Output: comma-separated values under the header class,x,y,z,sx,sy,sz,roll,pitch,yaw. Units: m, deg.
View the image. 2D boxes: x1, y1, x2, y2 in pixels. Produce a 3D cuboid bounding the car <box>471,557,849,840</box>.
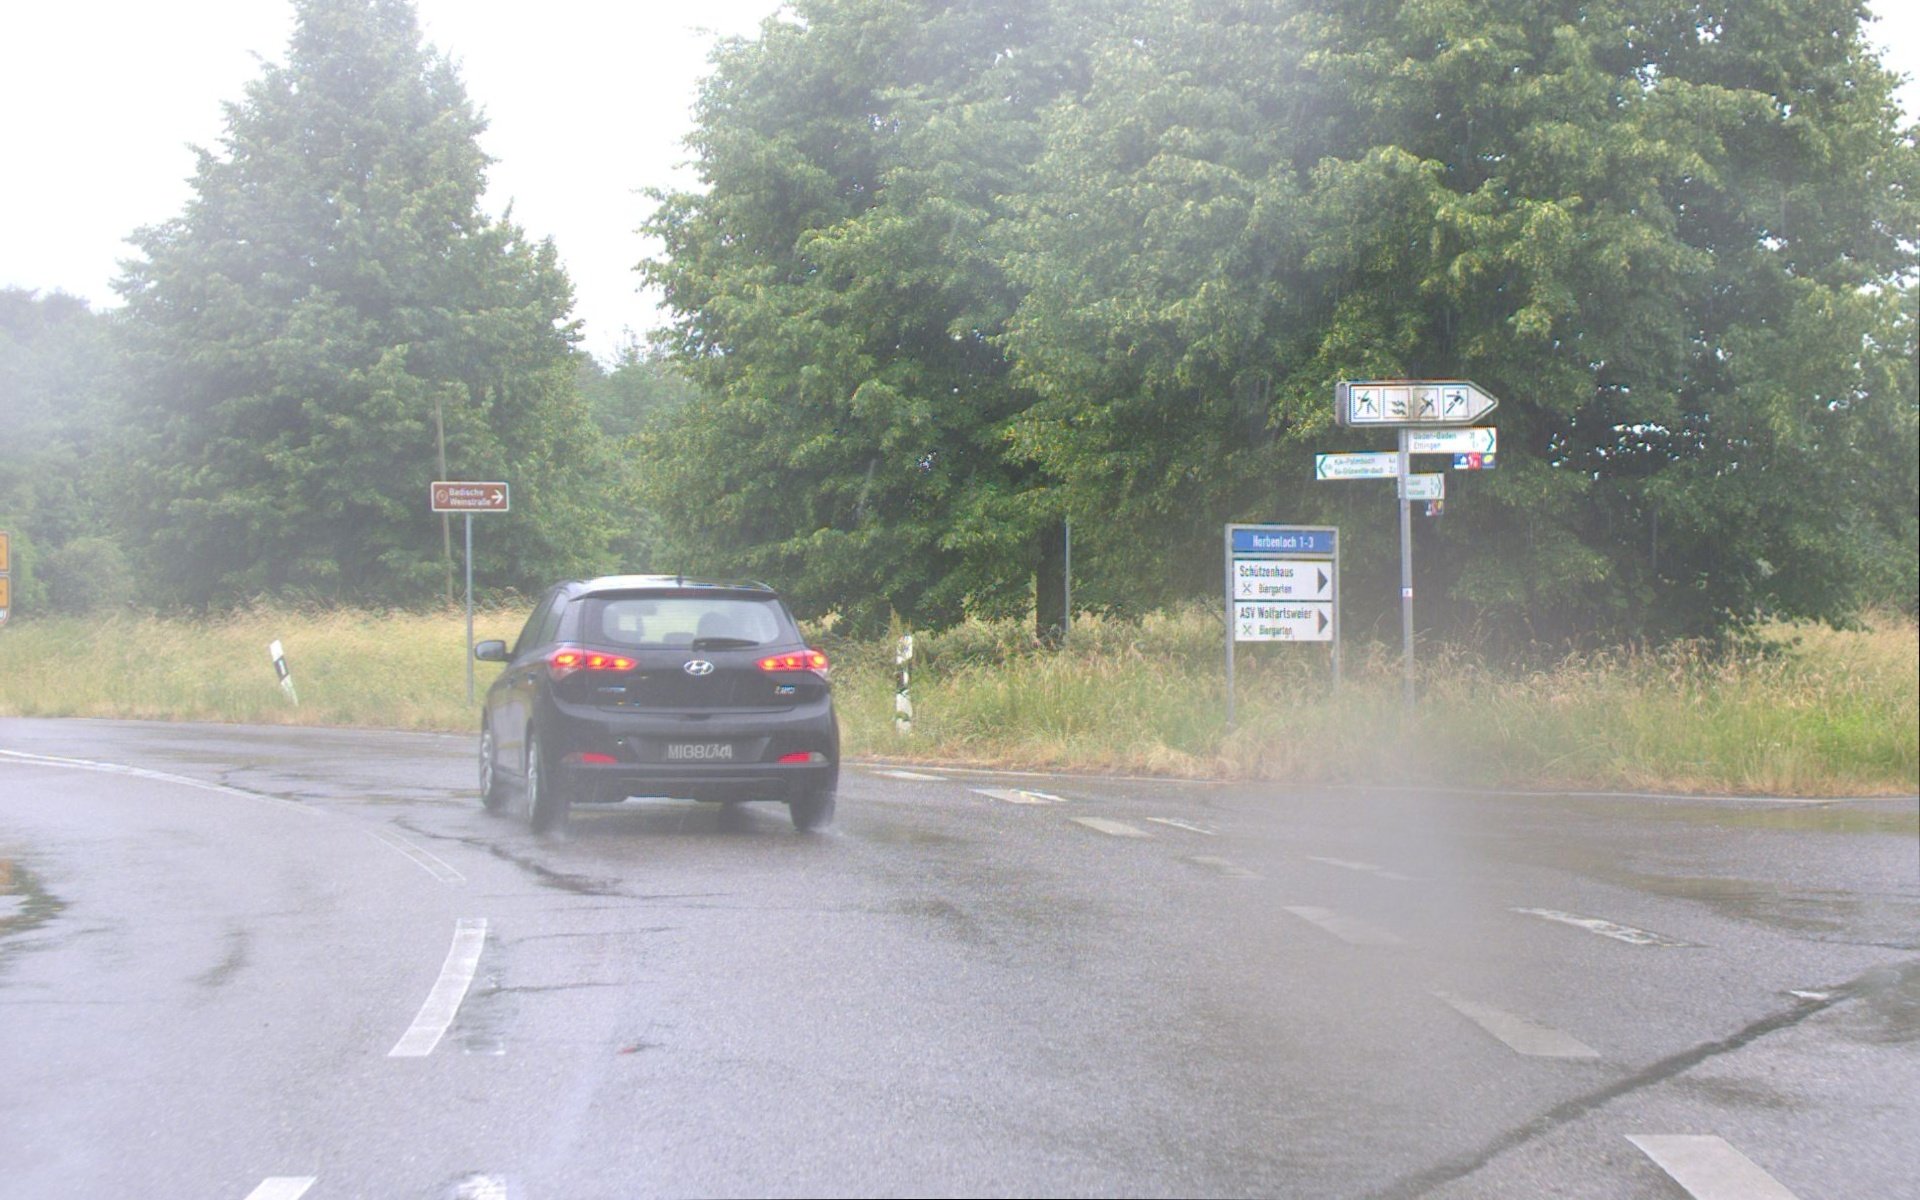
class,x,y,z,sx,sy,sz,roll,pitch,yaw
car,-1.794,0.543,20.537,1.993,1.482,4.001,2,0,-5
